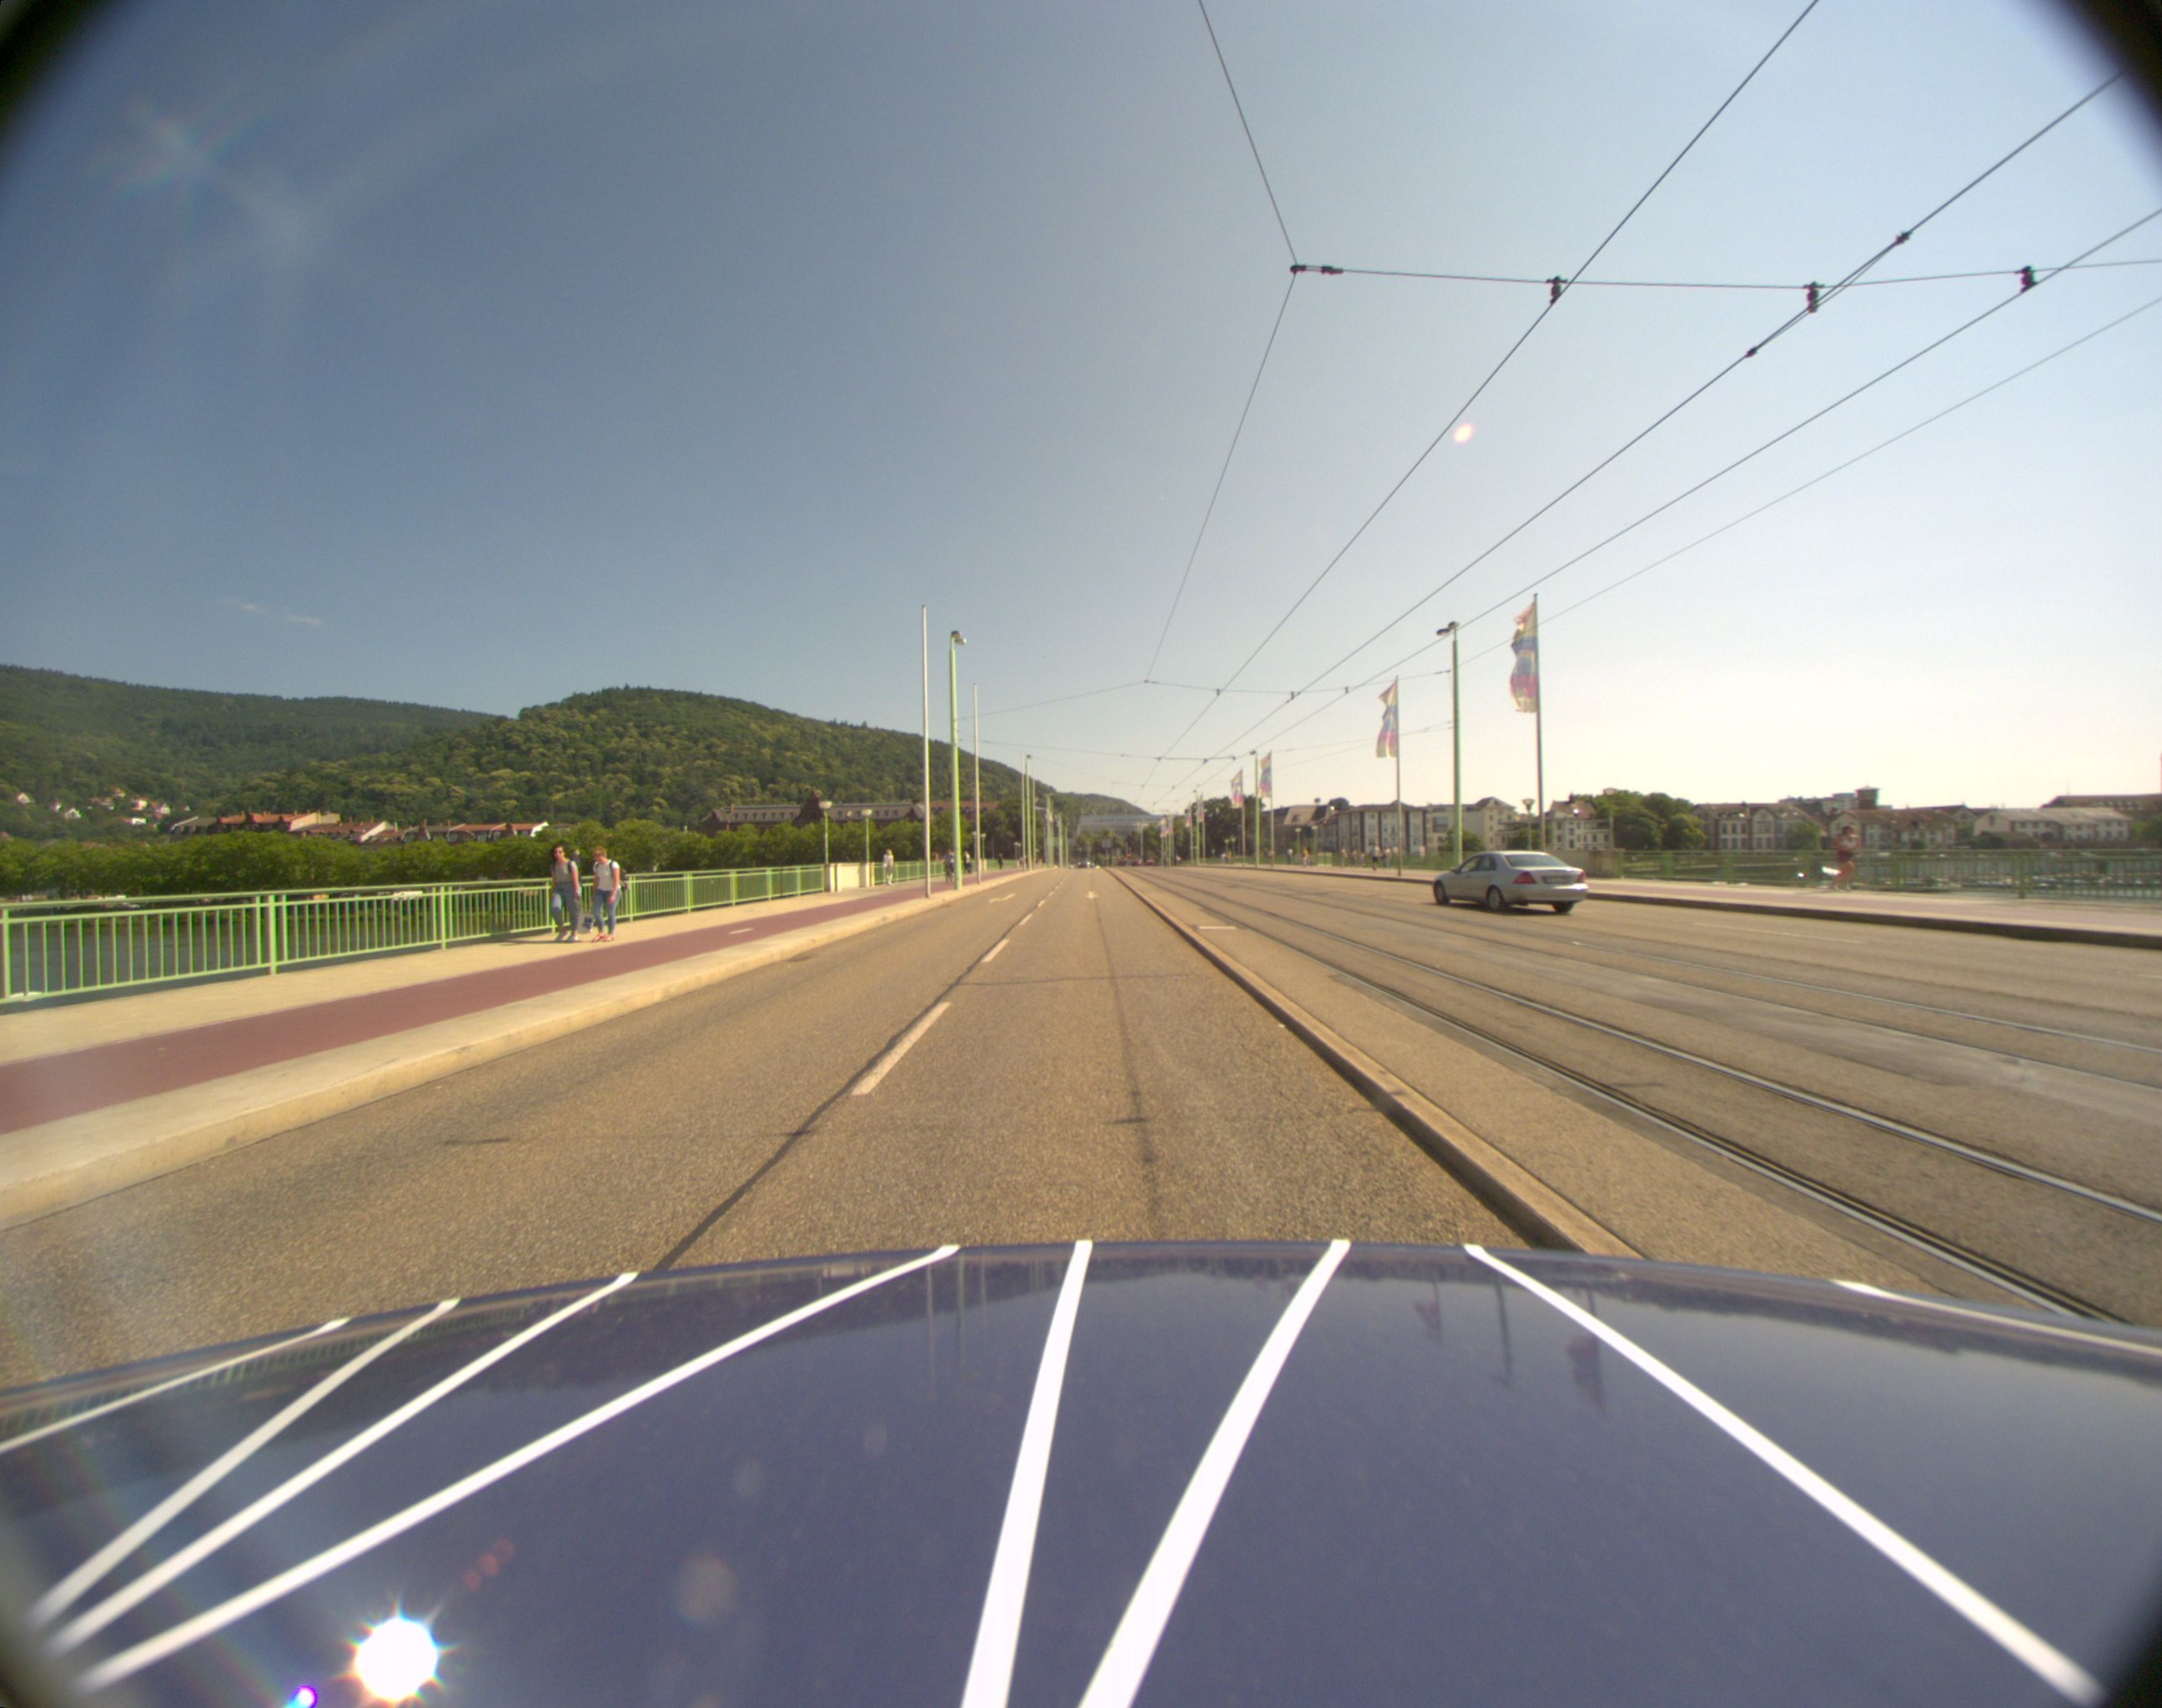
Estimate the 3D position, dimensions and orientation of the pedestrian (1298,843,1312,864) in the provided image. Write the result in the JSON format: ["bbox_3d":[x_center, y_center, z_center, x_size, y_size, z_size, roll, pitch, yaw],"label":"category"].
[{"bbox_3d":[18.744,-0.022,63.679,0.787,1.690,1.022,-4,1,1],"label":"pedestrian"}]

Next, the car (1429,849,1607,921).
[{"bbox_3d":[10.265,0.646,18.286,1.735,1.452,4.373,-1,1,0],"label":"car"}]

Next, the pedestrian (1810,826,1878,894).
[{"bbox_3d":[19.761,0.153,19.711,0.686,1.681,1.022,-3,1,1],"label":"pedestrian"}]

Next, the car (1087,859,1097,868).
[{"bbox_3d":[2.236,1.948,156.923,1.998,1.687,3.999,-3,2,1],"label":"car"}]

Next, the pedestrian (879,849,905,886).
[{"bbox_3d":[-8.791,0.614,35.411,0.950,1.653,1.082,0,1,0],"label":"pedestrian"}]

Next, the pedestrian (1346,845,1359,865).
[{"bbox_3d":[19.919,0.080,55.740,0.547,1.429,0.789,-3,1,1],"label":"pedestrian"}]

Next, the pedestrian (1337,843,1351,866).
[{"bbox_3d":[19.261,0.039,55.684,0.627,1.590,1.022,-3,1,1],"label":"pedestrian"}]

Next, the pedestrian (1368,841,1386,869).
[{"bbox_3d":[18.665,0.057,47.874,0.671,1.690,1.022,-3,1,1],"label":"pedestrian"}]

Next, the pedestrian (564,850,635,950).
[{"bbox_3d":[-8.183,0.762,12.945,0.664,1.649,0.825,0,1,1],"label":"pedestrian"}]

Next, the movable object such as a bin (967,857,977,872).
[{"bbox_3d":[-8.226,0.804,57.430,0.583,1.084,0.933,0,1,0],"label":"movable object such as a bin"}]

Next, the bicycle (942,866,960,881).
[{"bbox_3d":[-6.829,1.020,39.946,0.595,0.761,1.866,0,1,1],"label":"bicycle"}]

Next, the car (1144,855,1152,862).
[{"bbox_3d":[15.157,1.091,172.421,1.672,1.428,4.000,-1,1,1],"label":"car"}]

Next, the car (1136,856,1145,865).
[{"bbox_3d":[12.899,1.329,165.163,1.714,1.686,4.000,-5,1,2],"label":"car"}]

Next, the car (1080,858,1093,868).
[{"bbox_3d":[0.908,1.382,121.078,1.998,1.379,4.000,-6,0,1],"label":"car"}]

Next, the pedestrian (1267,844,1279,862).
[{"bbox_3d":[19.289,-0.091,76.436,0.787,1.690,1.022,-6,1,0],"label":"pedestrian"}]

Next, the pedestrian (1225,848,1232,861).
[{"bbox_3d":[20.798,0.039,106.960,0.592,1.690,0.905,-6,1,1],"label":"pedestrian"}]

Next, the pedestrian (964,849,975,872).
[{"bbox_3d":[-8.304,0.463,56.572,0.664,1.696,0.859,0,1,1],"label":"pedestrian"}]

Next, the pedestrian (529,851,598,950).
[{"bbox_3d":[-8.889,0.784,13.076,0.669,1.649,0.746,0,1,1],"label":"pedestrian"}]

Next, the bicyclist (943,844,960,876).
[{"bbox_3d":[-6.833,0.301,40.047,0.731,1.655,0.844,0,1,1],"label":"bicyclist"}]

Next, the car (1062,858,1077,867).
[{"bbox_3d":[-3.082,2.321,203.033,3.996,2.002,2.000,-3,2,2],"label":"car"}]

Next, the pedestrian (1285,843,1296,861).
[{"bbox_3d":[20.283,-0.200,73.610,0.592,1.690,1.022,-6,1,1],"label":"pedestrian"}]

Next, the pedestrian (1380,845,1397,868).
[{"bbox_3d":[19.460,0.149,48.052,0.592,1.406,1.022,-3,1,1],"label":"pedestrian"}]

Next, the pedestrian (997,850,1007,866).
[{"bbox_3d":[-8.637,0.445,82.789,0.950,1.653,1.082,1,1,0],"label":"pedestrian"}]
